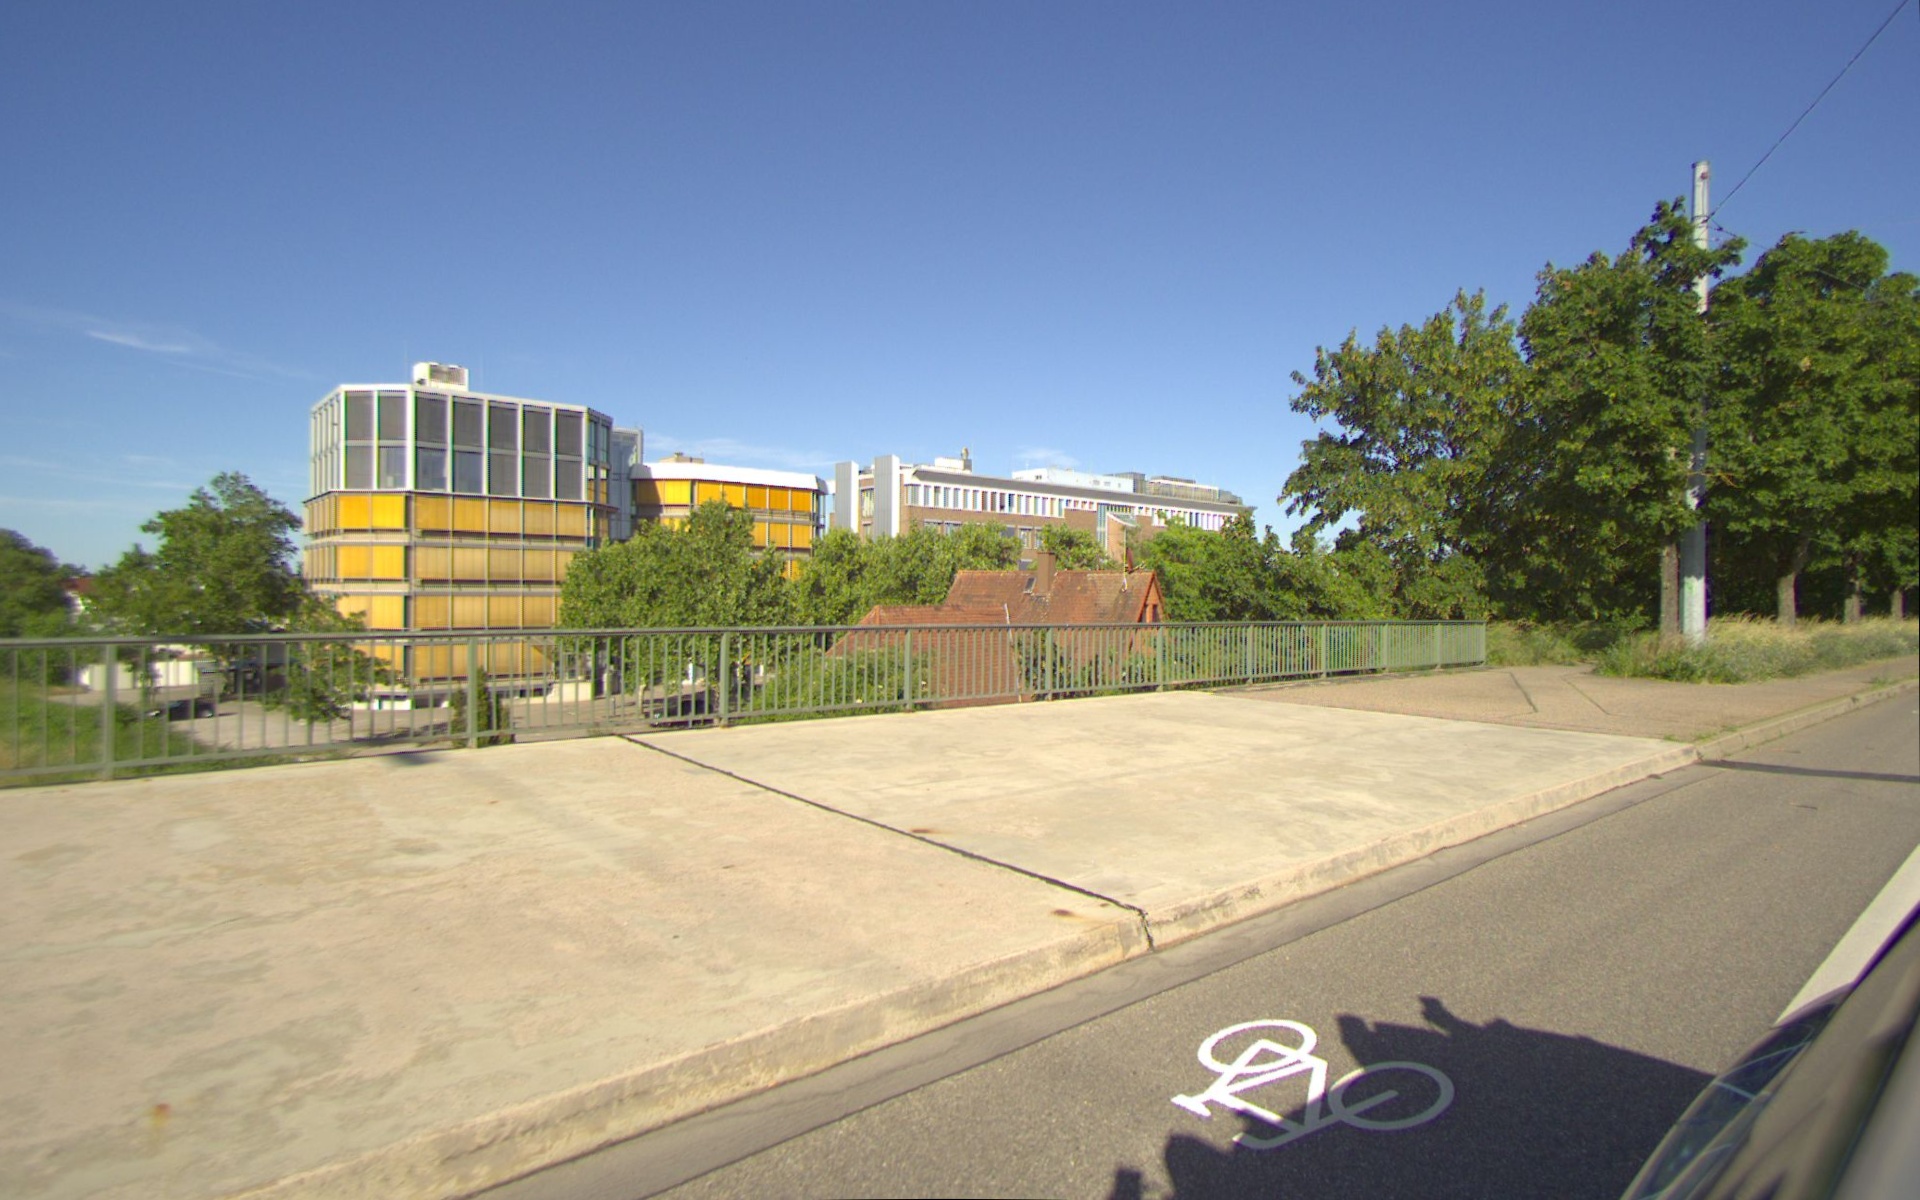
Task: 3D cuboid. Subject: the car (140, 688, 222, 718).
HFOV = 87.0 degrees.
[{"bbox_3d":[-50.917,6.707,66.186,1.774,1.661,3.940,-1,-2,41],"label":"car"}]
